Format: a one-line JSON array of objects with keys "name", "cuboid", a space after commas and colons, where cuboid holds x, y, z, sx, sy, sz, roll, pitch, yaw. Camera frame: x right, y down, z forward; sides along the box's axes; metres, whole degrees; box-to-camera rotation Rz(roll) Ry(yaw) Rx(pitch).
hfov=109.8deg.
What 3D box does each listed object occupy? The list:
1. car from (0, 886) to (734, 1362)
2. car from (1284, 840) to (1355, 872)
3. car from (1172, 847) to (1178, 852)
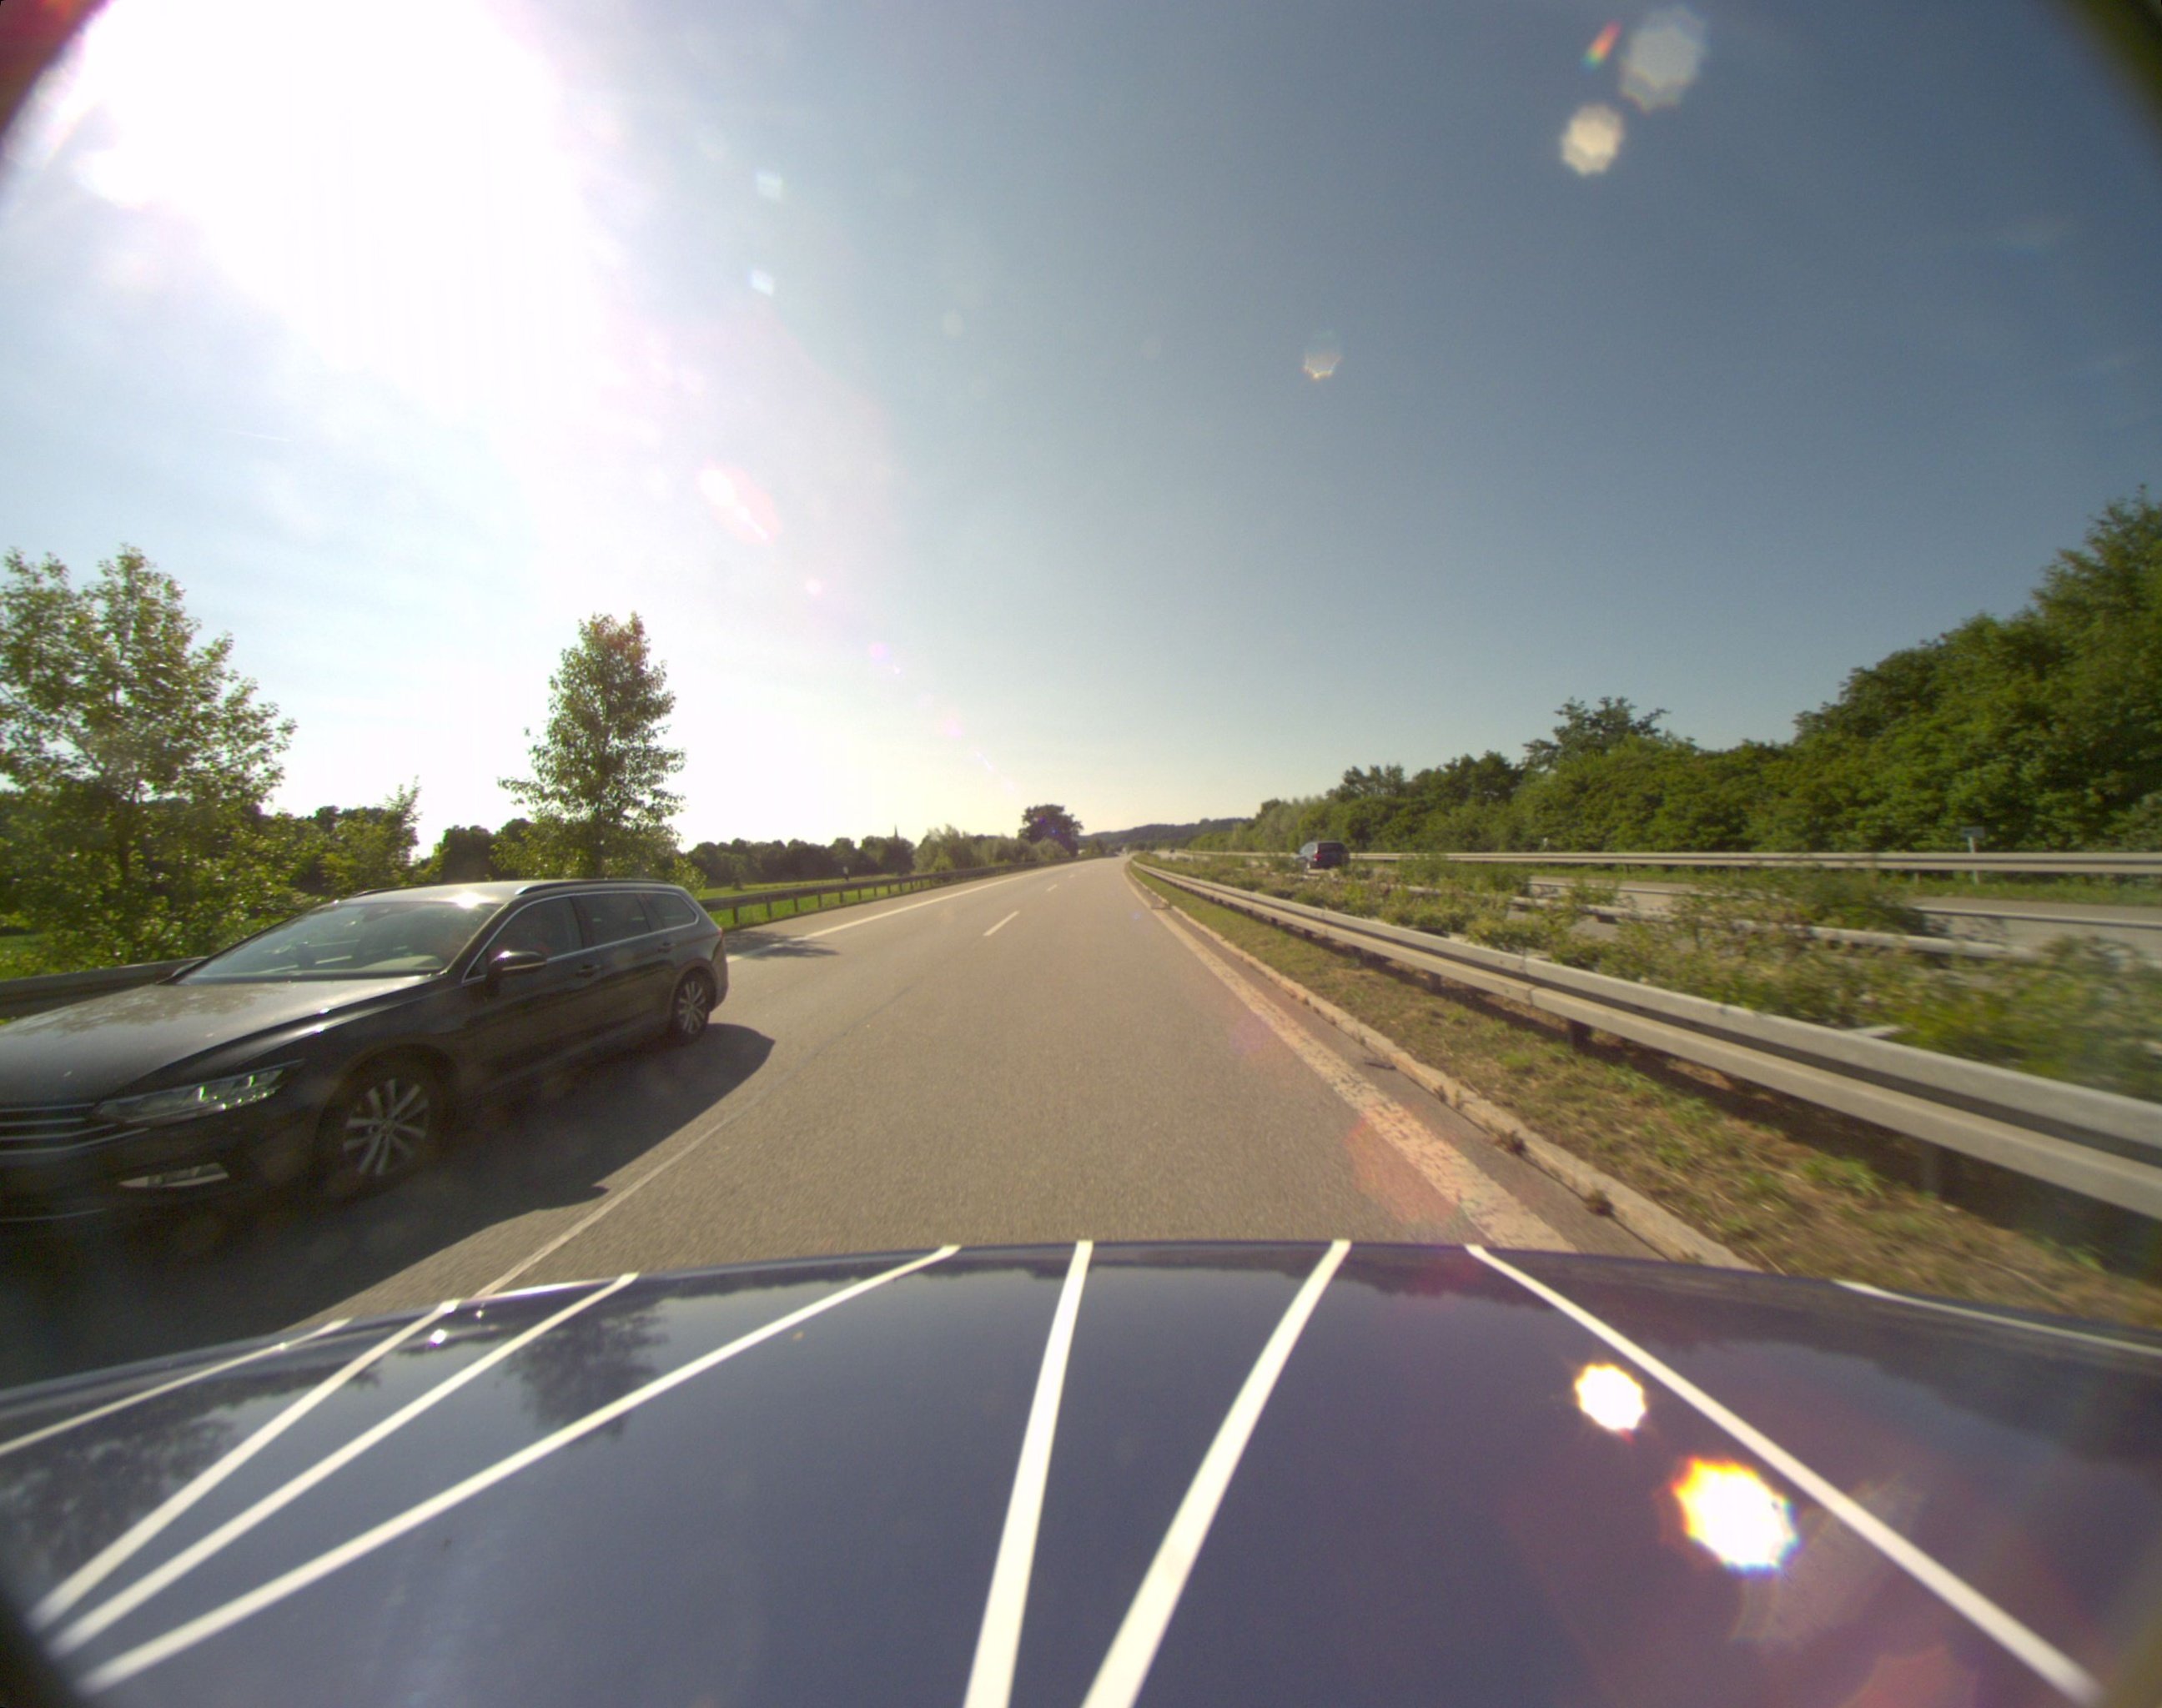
[{"name": "car", "cuboid": [-4.116, 1.043, 4.811, 1.723, 1.392, 4.413, -2, 1, 0]}, {"name": "car", "cuboid": [11.478, 0.078, 36.903, 1.998, 1.423, 4.486, -1, 0, 0]}, {"name": "car", "cuboid": [29.889, -1.488, 242.853, 1.680, 1.433, 4.001, -1, 0, 4]}]
